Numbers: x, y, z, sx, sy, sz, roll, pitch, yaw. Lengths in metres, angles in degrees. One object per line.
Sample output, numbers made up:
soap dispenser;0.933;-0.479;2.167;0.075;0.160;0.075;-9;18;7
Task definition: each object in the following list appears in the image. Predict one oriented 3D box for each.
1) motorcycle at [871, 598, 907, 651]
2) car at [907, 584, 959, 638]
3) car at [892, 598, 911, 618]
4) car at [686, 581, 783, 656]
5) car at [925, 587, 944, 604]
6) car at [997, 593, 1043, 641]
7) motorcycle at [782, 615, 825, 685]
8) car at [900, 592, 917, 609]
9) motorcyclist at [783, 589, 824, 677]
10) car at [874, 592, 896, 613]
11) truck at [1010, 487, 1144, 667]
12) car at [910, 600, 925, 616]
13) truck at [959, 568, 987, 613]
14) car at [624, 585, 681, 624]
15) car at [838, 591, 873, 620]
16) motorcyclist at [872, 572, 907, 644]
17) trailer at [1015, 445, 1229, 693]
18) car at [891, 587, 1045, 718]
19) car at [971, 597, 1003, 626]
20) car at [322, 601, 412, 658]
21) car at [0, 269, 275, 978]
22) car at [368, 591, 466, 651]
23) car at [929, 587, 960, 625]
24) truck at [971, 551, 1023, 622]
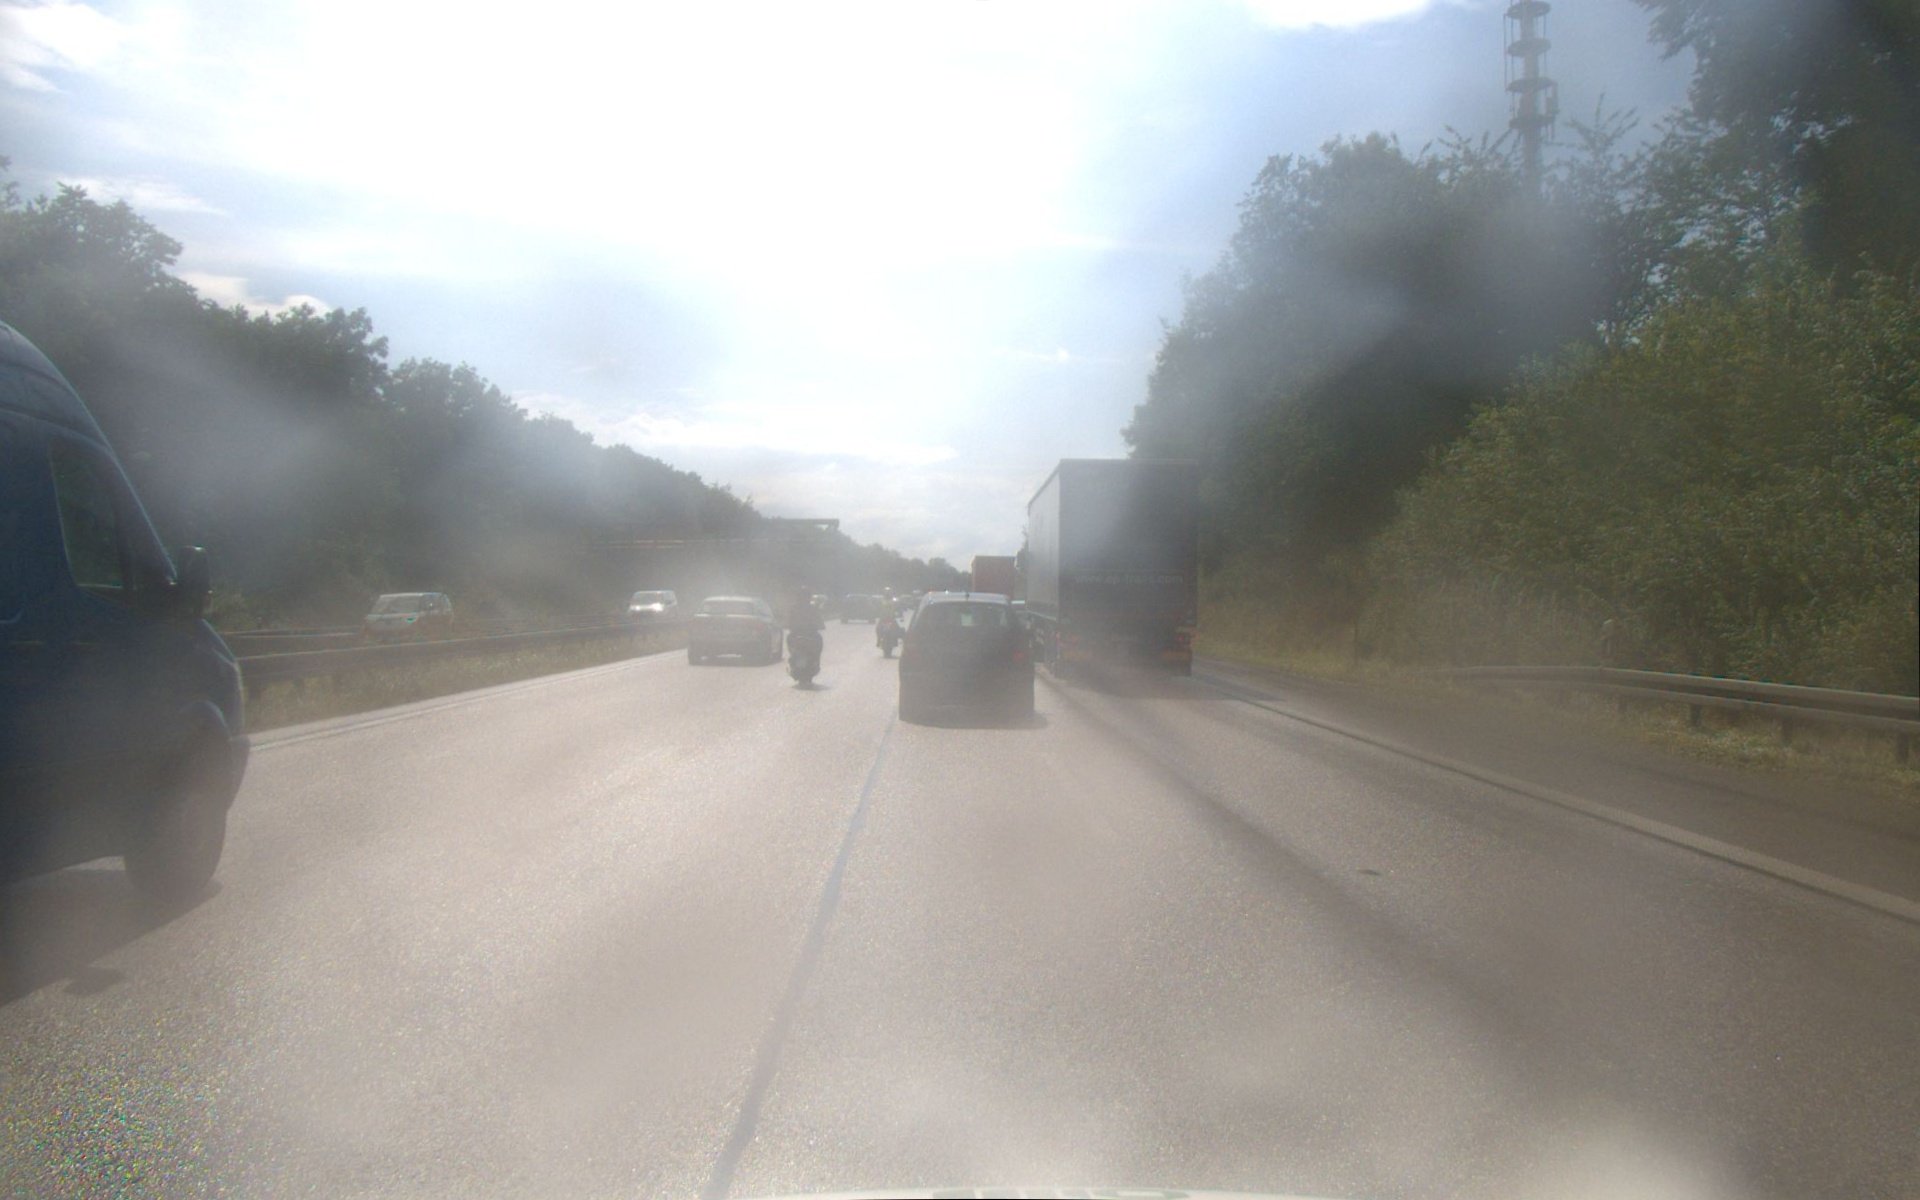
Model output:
motorcycle;-1.806;0.609;42.297;0.803;1.285;2.117;1;0;0
car;-1.100;0.437;65.120;1.953;2.049;3.999;1;0;-2
car;-6.319;0.880;179.000;1.953;2.049;3.999;1;0;-1
car;-5.127;0.408;38.147;1.723;1.622;4.329;0;0;-1
car;-2.268;-0.390;145.704;1.599;1.516;3.435;0;0;-1
car;2.611;0.740;72.721;1.811;2.049;4.086;1;0;-1
motorcycle;-2.659;0.832;28.196;0.662;1.106;1.980;1;0;-4
car;-6.143;0.098;198.846;1.953;2.049;3.999;1;0;-1
motorcyclist;-2.660;0.560;28.177;0.657;1.467;1.019;1;0;-4
car;-5.798;0.169;127.997;1.641;1.625;3.435;0;0;-1
truck;2.978;-0.567;43.809;2.990;4.400;5.884;1;0;-1
car;-5.623;1.080;218.465;1.953;2.049;3.999;1;0;-1
truck;1.414;-0.969;184.258;2.823;4.769;12.655;1;0;-1
car;-15.352;0.204;82.771;1.953;1.866;4.618;2;0;-1
car;-6.040;0.307;95.768;1.854;1.656;4.194;0;0;-1
motorcyclist;-1.798;0.209;42.259;0.804;1.791;1.390;1;0;0
trailer;3.124;-0.557;36.573;3.025;4.388;14.101;0;0;-1
car;0.052;0.640;22.395;1.876;1.592;4.312;0;0;-1
car;1.490;0.626;91.442;1.641;1.516;3.435;0;0;-1
car;-22.213;1.067;62.092;1.953;2.049;3.999;0;0;-1
car;-4.629;0.083;5.994;1.975;2.695;5.775;0;0;-1
car;-18.163;0.668;55.512;1.885;1.945;4.288;0;0;-1
car;-0.863;0.310;89.300;1.641;1.970;3.772;0;0;-1
truck;2.374;-0.841;109.307;3.137;4.481;9.431;1;0;-1
